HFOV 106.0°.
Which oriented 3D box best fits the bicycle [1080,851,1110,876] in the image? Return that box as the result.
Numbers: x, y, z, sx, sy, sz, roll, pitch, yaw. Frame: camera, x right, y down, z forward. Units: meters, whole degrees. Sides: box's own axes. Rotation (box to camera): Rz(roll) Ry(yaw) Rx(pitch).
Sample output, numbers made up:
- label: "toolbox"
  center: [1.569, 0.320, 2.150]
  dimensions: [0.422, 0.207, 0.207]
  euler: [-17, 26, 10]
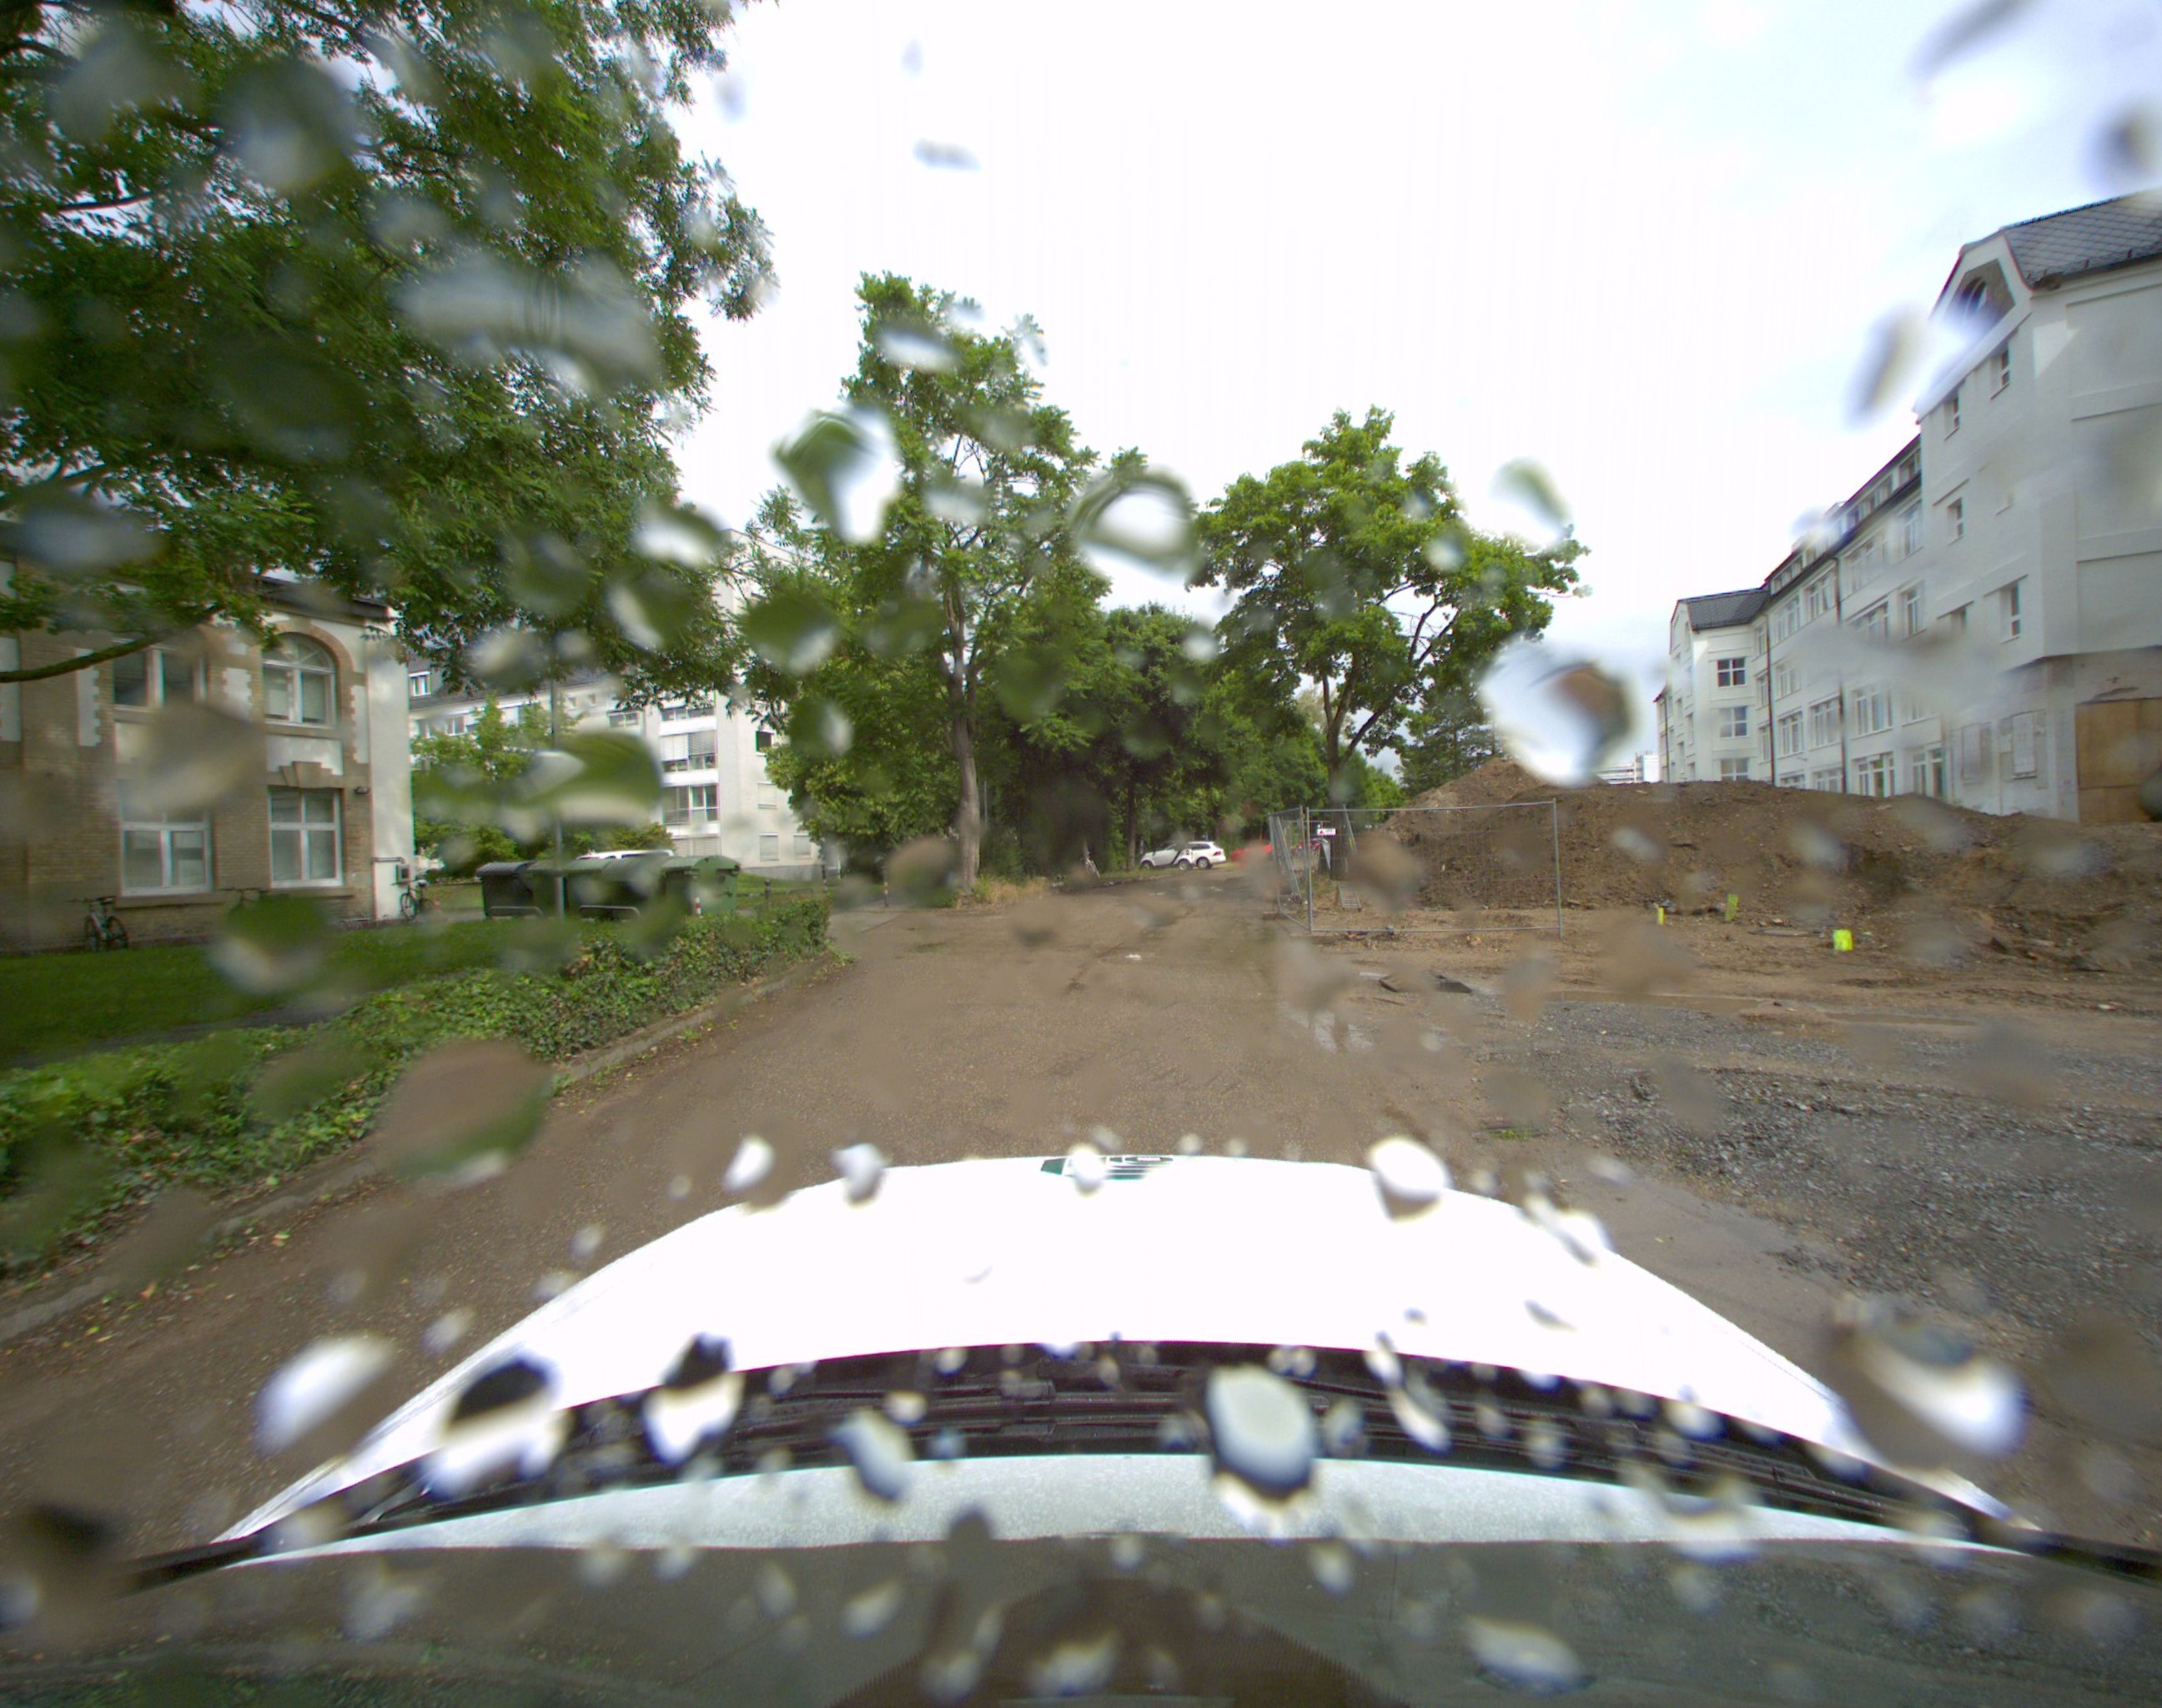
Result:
- label: "bicycle"
  center: [0.522, 0.336, 29.789]
  dimensions: [0.471, 0.860, 1.465]
  euler: [0, 2, 27]

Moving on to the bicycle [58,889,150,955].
- label: "bicycle"
  center: [-17.866, 1.236, 14.889]
  dimensions: [1.766, 1.116, 0.621]
  euler: [-3, 1, 26]

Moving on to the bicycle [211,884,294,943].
- label: "bicycle"
  center: [-16.993, 1.212, 16.697]
  dimensions: [1.766, 1.116, 0.621]
  euler: [-3, 1, 26]

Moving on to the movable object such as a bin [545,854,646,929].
- label: "movable object such as a bin"
  center: [-10.157, 0.756, 17.078]
  dimensions: [1.386, 1.483, 1.174]
  euler: [-1, 0, 22]

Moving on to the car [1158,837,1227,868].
- label: "car"
  center: [5.927, -0.066, 43.159]
  dimensions: [3.407, 1.468, 1.747]
  euler: [-2, 2, 14]

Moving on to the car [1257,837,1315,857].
- label: "car"
  center: [15.841, -0.539, 62.899]
  dimensions: [3.950, 1.496, 2.006]
  euler: [0, 2, 26]

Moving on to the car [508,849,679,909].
- label: "car"
  center: [-17.598, 0.845, 29.707]
  dimensions: [2.073, 1.926, 4.919]
  euler: [-3, -1, 28]

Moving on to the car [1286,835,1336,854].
- label: "car"
  center: [19.999, -0.844, 70.841]
  dimensions: [3.951, 1.559, 1.774]
  euler: [0, 2, 23]

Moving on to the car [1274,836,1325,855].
- label: "car"
  center: [18.164, -0.702, 67.616]
  dimensions: [3.908, 1.516, 1.816]
  euler: [0, 2, 22]

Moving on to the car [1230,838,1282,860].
- label: "car"
  center: [12.249, -0.361, 56.987]
  dimensions: [3.252, 1.424, 1.602]
  euler: [0, 2, 29]

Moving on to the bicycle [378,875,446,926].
- label: "bicycle"
  center: [-15.795, 1.103, 19.212]
  dimensions: [1.501, 1.116, 0.621]
  euler: [-3, 1, 26]

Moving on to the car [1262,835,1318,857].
- label: "car"
  center: [16.817, -0.666, 65.508]
  dimensions: [4.072, 1.650, 1.857]
  euler: [0, 2, 21]

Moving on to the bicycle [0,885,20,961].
- label: "bicycle"
  center: [-18.500, 1.178, 13.543]
  dimensions: [1.902, 1.224, 0.621]
  euler: [-3, 1, 26]

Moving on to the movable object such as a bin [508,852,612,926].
- label: "movable object such as a bin"
  center: [-11.406, 0.750, 17.861]
  dimensions: [1.479, 1.483, 1.174]
  euler: [-3, 1, 21]

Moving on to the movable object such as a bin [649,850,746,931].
- label: "movable object such as a bin"
  center: [-7.479, 0.688, 15.893]
  dimensions: [1.466, 1.473, 1.112]
  euler: [-2, -1, 36]

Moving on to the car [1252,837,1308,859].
- label: "car"
  center: [14.890, -0.466, 60.924]
  dimensions: [3.758, 1.529, 1.921]
  euler: [0, 2, 27]

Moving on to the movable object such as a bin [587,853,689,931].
- label: "movable object such as a bin"
  center: [-8.909, 0.735, 16.420]
  dimensions: [1.386, 1.483, 1.174]
  euler: [0, 0, 20]

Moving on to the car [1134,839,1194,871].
- label: "car"
  center: [4.235, 0.044, 41.245]
  dimensions: [2.734, 1.484, 1.599]
  euler: [-2, 2, 14]

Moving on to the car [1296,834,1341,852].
- label: "car"
  center: [22.081, -1.048, 75.671]
  dimensions: [3.823, 1.573, 1.969]
  euler: [0, 2, 22]

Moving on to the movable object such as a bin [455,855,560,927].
- label: "movable object such as a bin"
  center: [-12.888, 0.816, 18.335]
  dimensions: [1.575, 1.483, 1.174]
  euler: [-3, 1, 21]
